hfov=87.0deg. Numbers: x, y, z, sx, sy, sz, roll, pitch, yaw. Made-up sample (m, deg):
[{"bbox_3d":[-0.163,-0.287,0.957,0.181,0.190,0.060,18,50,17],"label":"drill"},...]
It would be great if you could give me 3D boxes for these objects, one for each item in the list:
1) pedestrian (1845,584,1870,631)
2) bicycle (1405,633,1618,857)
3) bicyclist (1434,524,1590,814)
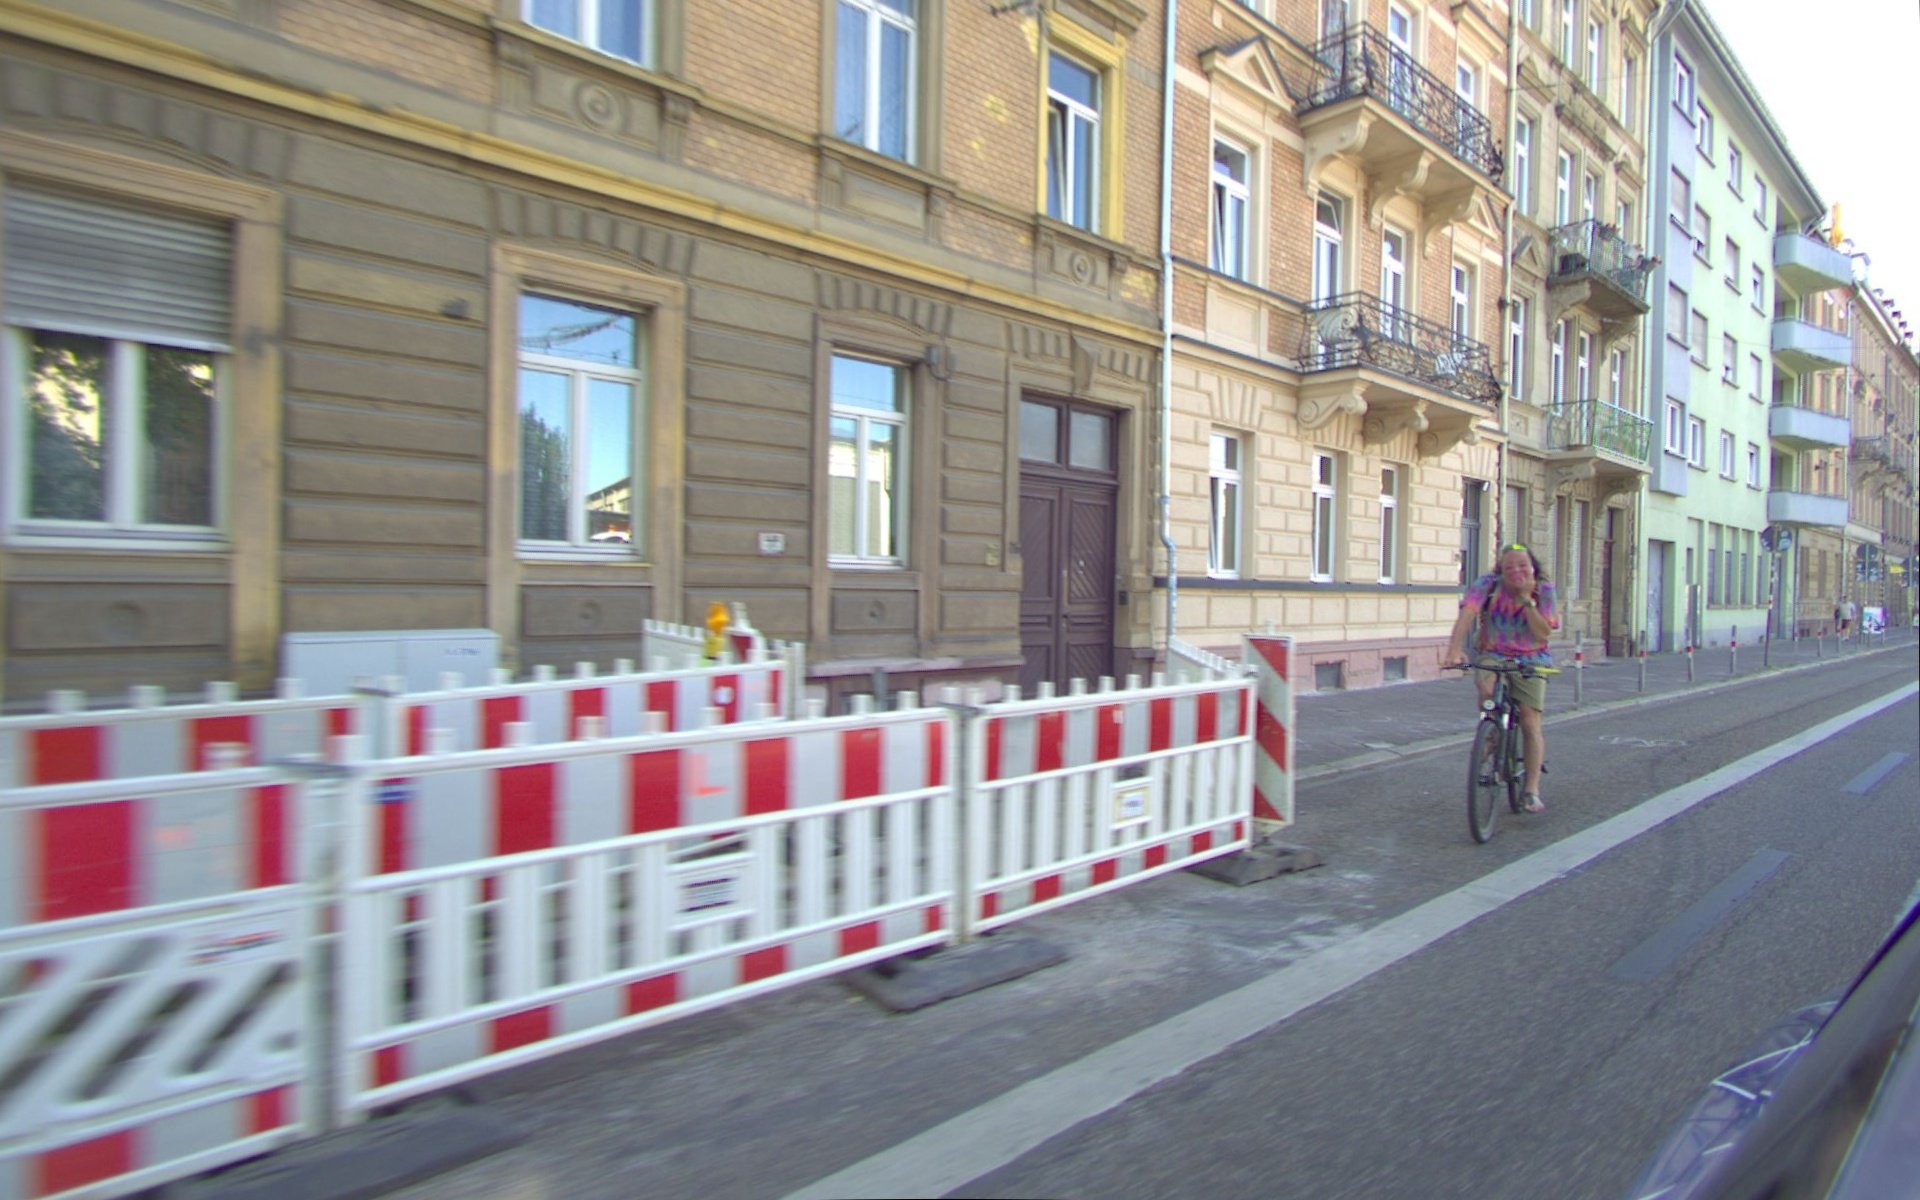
[{"bbox_3d":[33.180,0.275,37.399,0.465,1.721,0.554,0,3,-41],"label":"pedestrian"},{"bbox_3d":[3.768,0.832,6.770,0.680,1.128,2.666,-1,0,41],"label":"bicycle"},{"bbox_3d":[3.608,0.403,6.594,0.666,1.718,1.027,-1,0,42],"label":"bicyclist"}]
